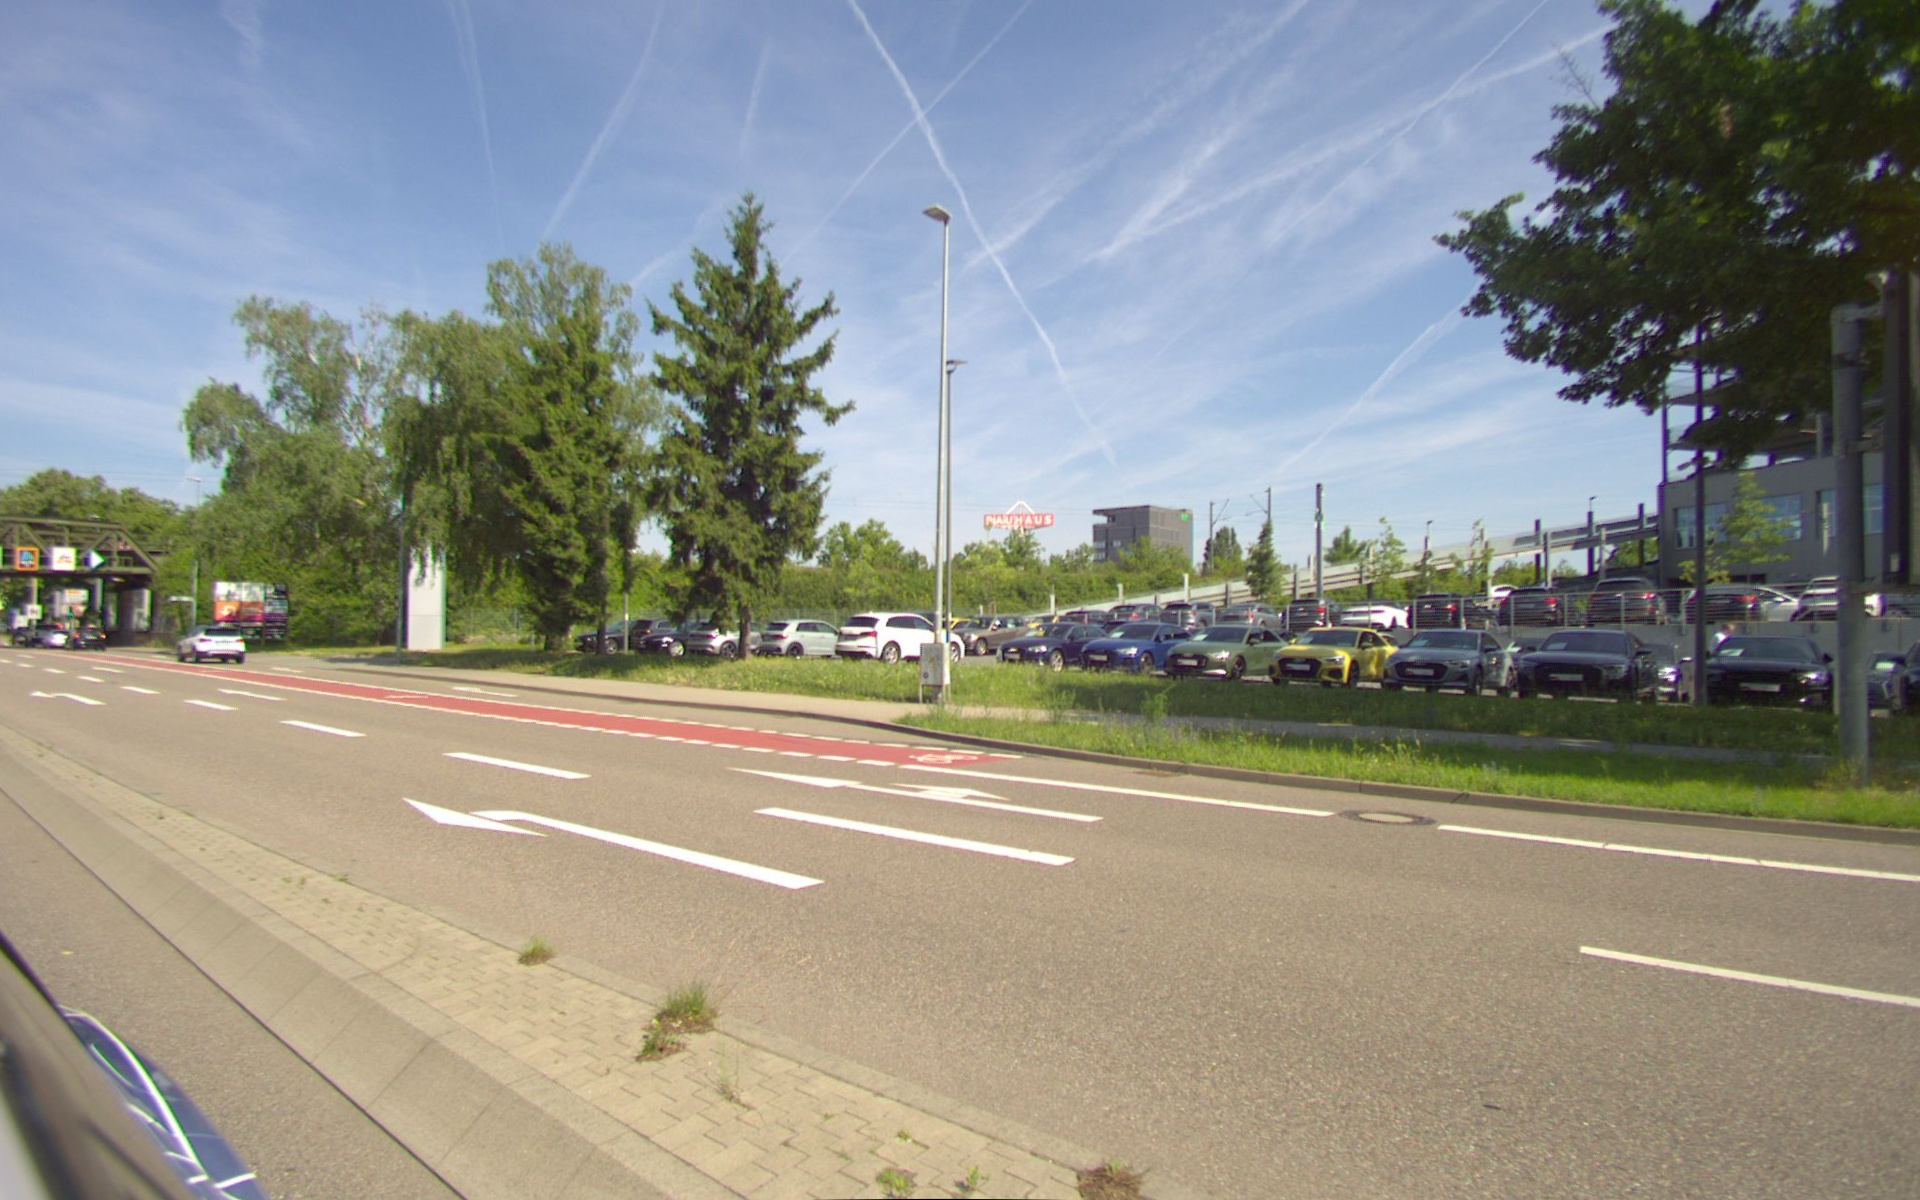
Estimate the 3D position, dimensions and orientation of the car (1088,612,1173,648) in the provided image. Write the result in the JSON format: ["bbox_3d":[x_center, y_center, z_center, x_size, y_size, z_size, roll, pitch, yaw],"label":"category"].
[{"bbox_3d":[7.551,1.286,44.671,1.997,1.488,4.163,-1,-1,37],"label":"car"}]

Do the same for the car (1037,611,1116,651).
[{"bbox_3d":[5.420,1.383,46.744,1.996,1.746,3.952,-1,-1,35],"label":"car"}]

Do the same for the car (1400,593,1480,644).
[{"bbox_3d":[17.205,0.710,36.166,1.663,1.718,4.226,-1,-2,38],"label":"car"}]

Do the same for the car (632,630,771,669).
[{"bbox_3d":[-9.603,1.806,37.954,1.999,1.278,4.802,-1,-1,40],"label":"car"}]

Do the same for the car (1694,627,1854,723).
[{"bbox_3d":[14.418,1.242,18.010,1.977,1.487,4.455,-1,-2,38],"label":"car"}]

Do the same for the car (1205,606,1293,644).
[{"bbox_3d":[11.753,1.000,40.987,1.889,1.429,4.456,-1,-1,38],"label":"car"}]

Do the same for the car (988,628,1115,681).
[{"bbox_3d":[2.591,1.463,28.023,1.742,1.295,3.754,-1,-1,39],"label":"car"}]

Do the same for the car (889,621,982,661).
[{"bbox_3d":[-1.040,1.771,44.646,1.999,1.634,3.945,-1,-1,41],"label":"car"}]

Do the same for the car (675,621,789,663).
[{"bbox_3d":[-8.134,1.467,36.300,1.815,1.381,3.642,-1,-1,40],"label":"car"}]

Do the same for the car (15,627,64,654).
[{"bbox_3d":[-68.956,3.010,75.806,5.447,1.875,1.973,-1,-5,41],"label":"car"}]

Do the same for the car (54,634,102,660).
[{"bbox_3d":[-55.471,2.959,63.626,4.024,1.530,1.680,-1,-4,41],"label":"car"}]

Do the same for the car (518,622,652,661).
[{"bbox_3d":[-14.950,1.623,40.547,1.999,1.400,4.639,-1,-1,40],"label":"car"}]

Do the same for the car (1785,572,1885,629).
[{"bbox_3d":[25.303,0.084,29.415,1.977,1.496,4.455,-1,-2,38],"label":"car"}]

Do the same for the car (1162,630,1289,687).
[{"bbox_3d":[6.538,1.432,24.685,1.661,1.295,3.705,-1,-4,39],"label":"car"}]

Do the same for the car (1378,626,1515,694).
[{"bbox_3d":[10.328,1.268,21.361,1.863,1.295,3.558,-1,-4,39],"label":"car"}]

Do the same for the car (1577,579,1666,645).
[{"bbox_3d":[21.383,0.429,32.638,1.977,1.977,4.455,-1,-2,38],"label":"car"}]

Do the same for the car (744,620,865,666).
[{"bbox_3d":[-5.477,1.475,35.913,1.848,1.497,3.942,-2,-1,44],"label":"car"}]

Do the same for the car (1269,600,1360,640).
[{"bbox_3d":[13.854,0.812,39.398,1.977,1.496,4.455,-1,-2,38],"label":"car"}]

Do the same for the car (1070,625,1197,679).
[{"bbox_3d":[4.563,1.364,26.271,1.742,1.295,3.558,-1,-4,39],"label":"car"}]

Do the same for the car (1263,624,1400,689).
[{"bbox_3d":[8.590,1.312,23.235,1.838,1.351,3.849,-1,-4,39],"label":"car"}]

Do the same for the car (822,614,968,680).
[{"bbox_3d":[-1.949,1.400,31.576,1.999,1.889,4.416,-2,-1,41],"label":"car"}]

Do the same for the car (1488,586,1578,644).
[{"bbox_3d":[19.474,0.550,34.291,1.977,1.829,4.455,-1,-2,38],"label":"car"}]

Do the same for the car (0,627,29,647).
[{"bbox_3d":[-79.447,3.098,84.618,4.384,1.608,1.853,-1,-3,40],"label":"car"}]

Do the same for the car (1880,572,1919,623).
[{"bbox_3d":[31.620,-0.095,31.866,3.786,1.585,1.931,-1,-1,40],"label":"car"}]

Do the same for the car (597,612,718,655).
[{"bbox_3d":[-11.889,1.295,39.964,1.999,1.558,4.170,-1,-1,40],"label":"car"}]

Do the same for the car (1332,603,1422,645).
[{"bbox_3d":[15.692,0.926,37.951,1.977,1.496,4.455,-1,-2,38],"label":"car"}]

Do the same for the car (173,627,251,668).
[{"bbox_3d":[-31.281,1.979,42.299,4.106,1.630,1.971,-2,-4,45],"label":"car"}]

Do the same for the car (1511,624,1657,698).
[{"bbox_3d":[12.161,1.183,19.631,1.983,1.295,3.643,-1,-4,39],"label":"car"}]

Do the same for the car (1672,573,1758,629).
[{"bbox_3d":[23.295,0.091,31.151,1.977,1.563,4.455,-1,-2,38],"label":"car"}]

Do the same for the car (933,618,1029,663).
[{"bbox_3d":[0.940,1.664,42.733,1.999,1.770,3.945,-1,-1,41],"label":"car"}]

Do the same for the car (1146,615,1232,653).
[{"bbox_3d":[9.758,1.424,42.914,1.997,1.488,4.163,-1,-1,37],"label":"car"}]

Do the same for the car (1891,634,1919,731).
[{"bbox_3d":[16.506,1.301,16.259,1.917,1.487,4.455,-1,-2,38],"label":"car"}]

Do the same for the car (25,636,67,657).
[{"bbox_3d":[-63.507,3.221,70.284,4.316,1.398,1.618,-1,-3,41],"label":"car"}]
